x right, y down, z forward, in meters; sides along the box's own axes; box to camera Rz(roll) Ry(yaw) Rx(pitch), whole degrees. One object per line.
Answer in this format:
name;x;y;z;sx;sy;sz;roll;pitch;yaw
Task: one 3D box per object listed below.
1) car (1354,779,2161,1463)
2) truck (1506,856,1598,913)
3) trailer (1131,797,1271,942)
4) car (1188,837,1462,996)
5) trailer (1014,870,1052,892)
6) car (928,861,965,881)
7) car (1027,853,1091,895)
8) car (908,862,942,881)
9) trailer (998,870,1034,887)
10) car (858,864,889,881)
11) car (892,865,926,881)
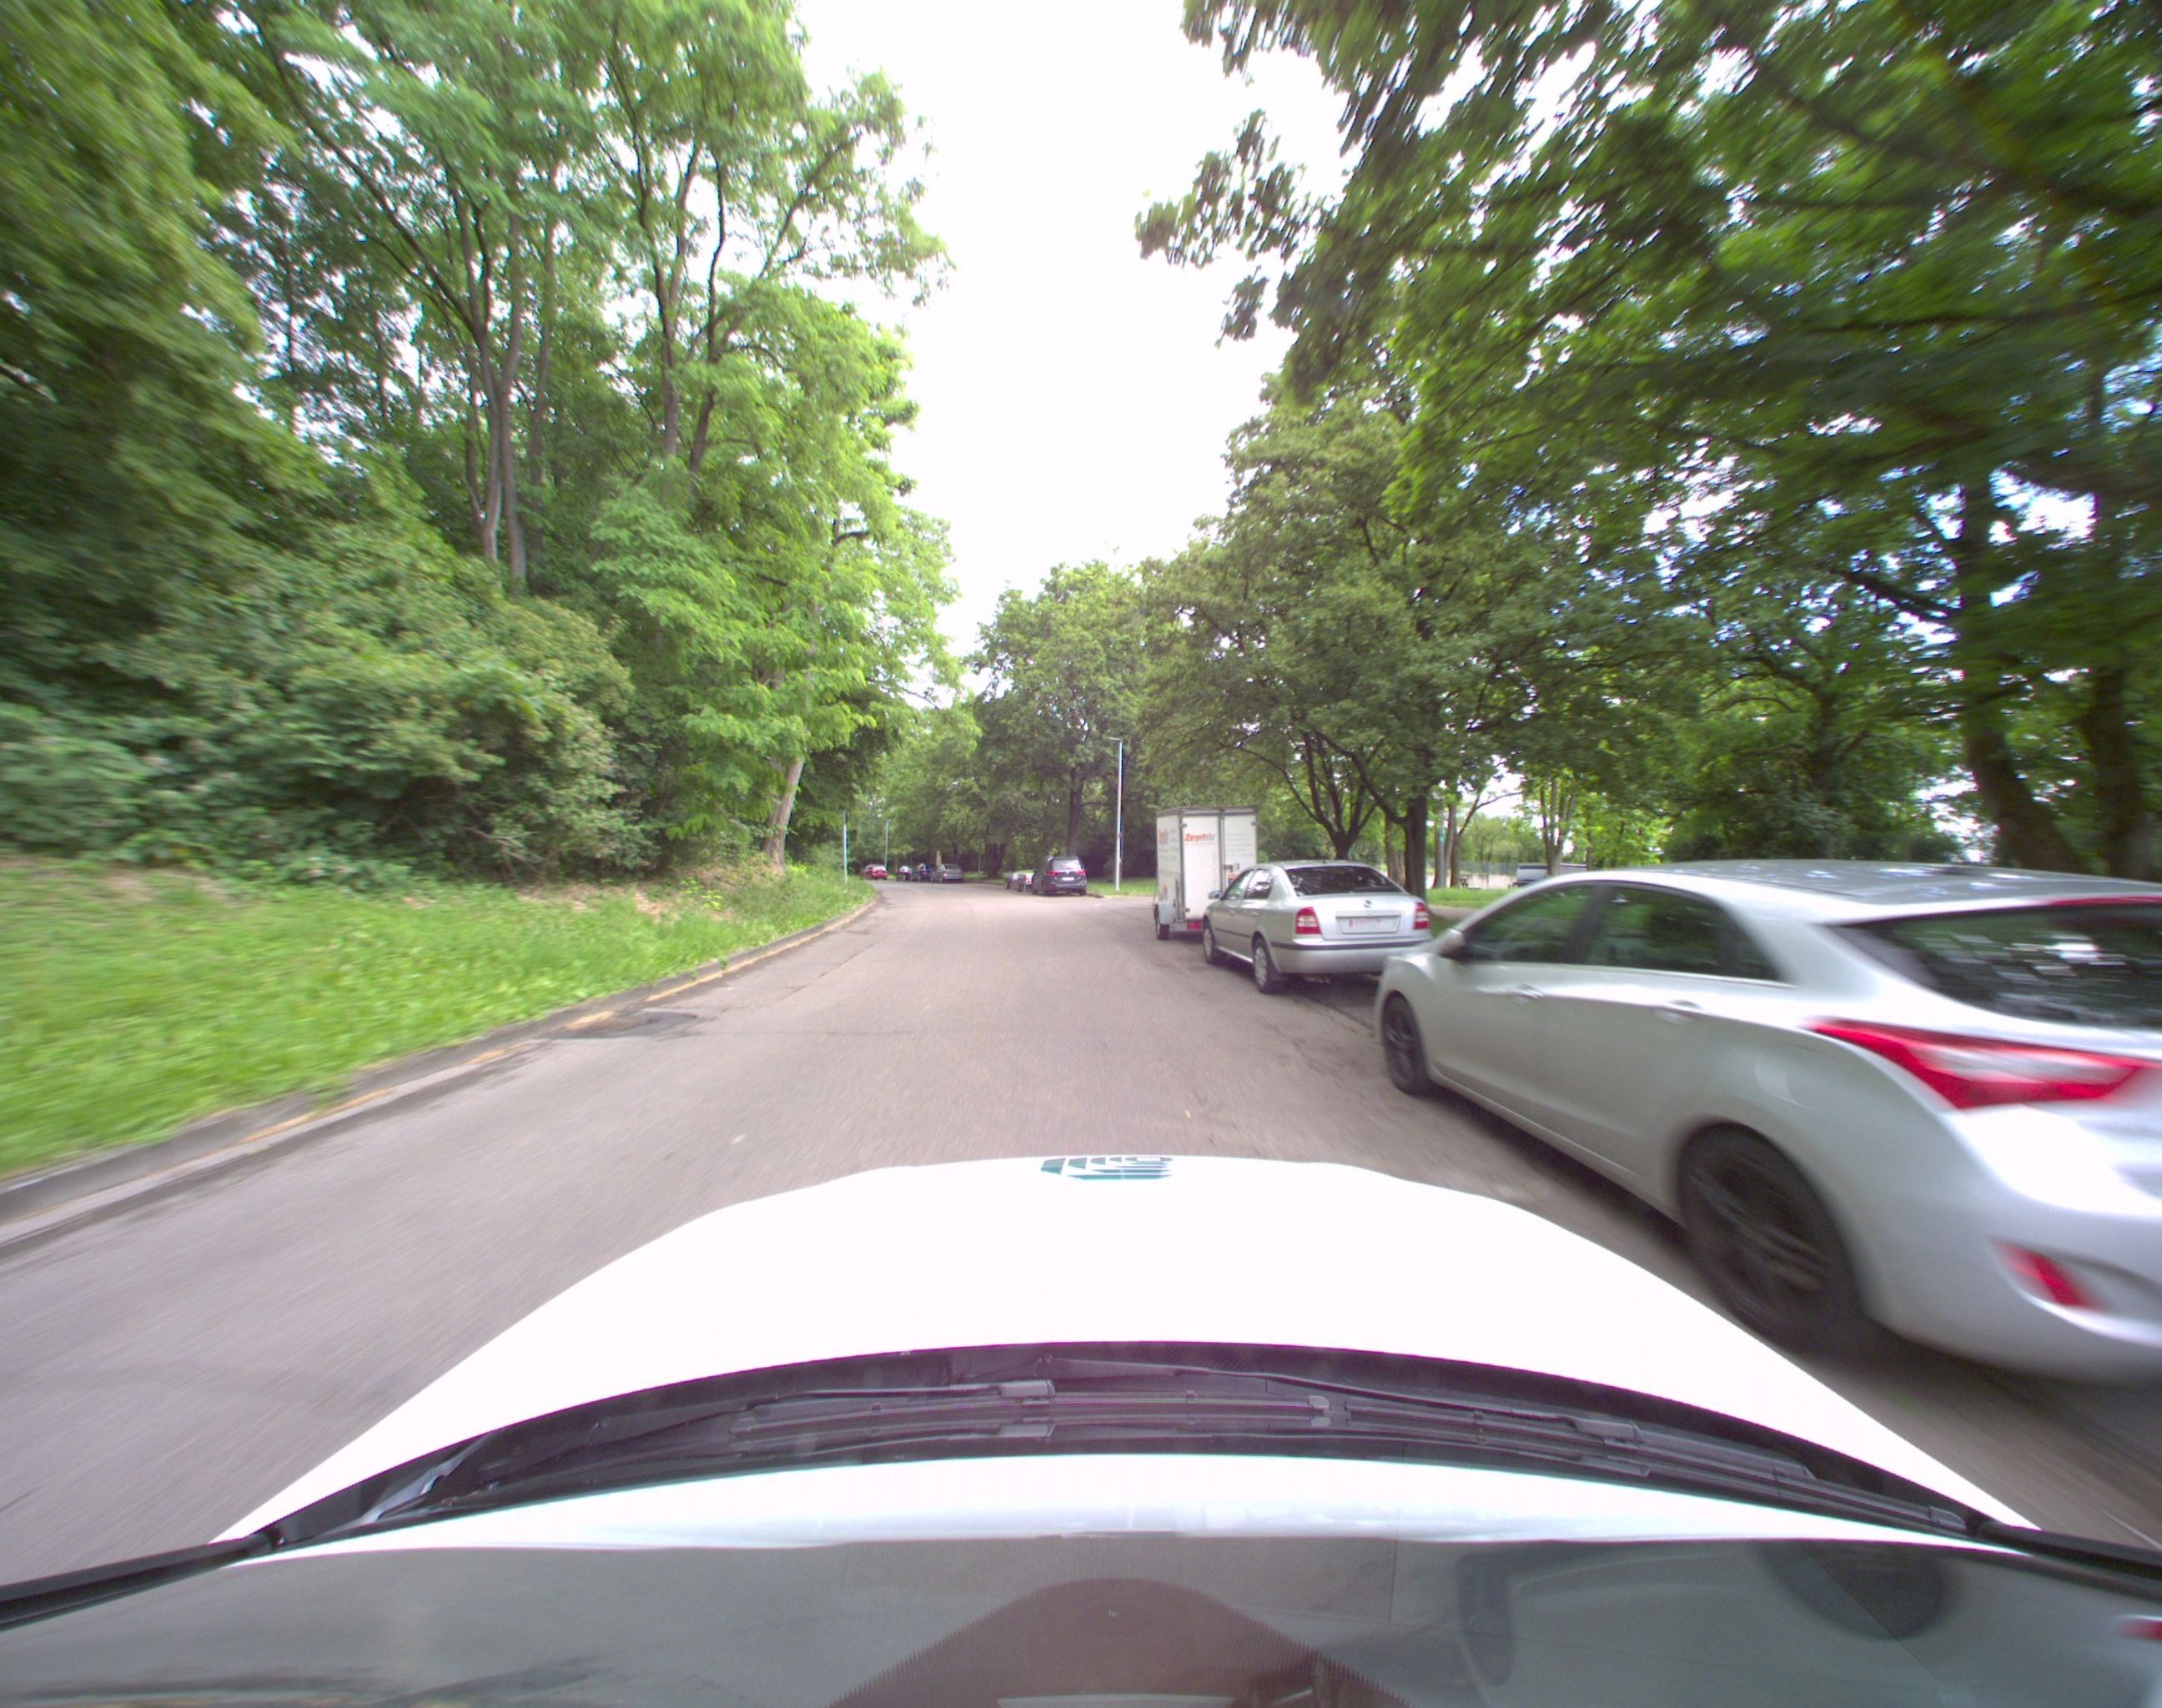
car;2.961;0.664;3.851;1.897;1.477;4.055;1;-2;-2
truck;35.177;2.300;60.628;9.618;3.998;2.666;3;-3;-39
trailer;2.158;0.273;15.768;1.758;2.427;3.879;-1;0;-6
car;2.735;0.643;10.385;1.738;1.525;4.627;-1;-1;-5
trailer;-2.424;1.313;40.586;1.358;0.969;3.877;1;0;-11
car;-10.218;1.310;61.730;1.726;1.431;3.915;-1;-1;-25
car;-1.020;0.856;34.682;1.777;1.663;4.819;1;-1;-13
car;-13.048;1.462;67.823;1.723;1.510;4.144;2;-3;-26
trailer;-3.652;1.374;45.200;1.366;0.848;3.259;1;-2;-17
car;-20.780;1.866;81.321;1.751;1.562;3.957;0;-2;-34
car;-15.257;1.688;71.999;1.761;1.337;4.373;0;-2;-29
